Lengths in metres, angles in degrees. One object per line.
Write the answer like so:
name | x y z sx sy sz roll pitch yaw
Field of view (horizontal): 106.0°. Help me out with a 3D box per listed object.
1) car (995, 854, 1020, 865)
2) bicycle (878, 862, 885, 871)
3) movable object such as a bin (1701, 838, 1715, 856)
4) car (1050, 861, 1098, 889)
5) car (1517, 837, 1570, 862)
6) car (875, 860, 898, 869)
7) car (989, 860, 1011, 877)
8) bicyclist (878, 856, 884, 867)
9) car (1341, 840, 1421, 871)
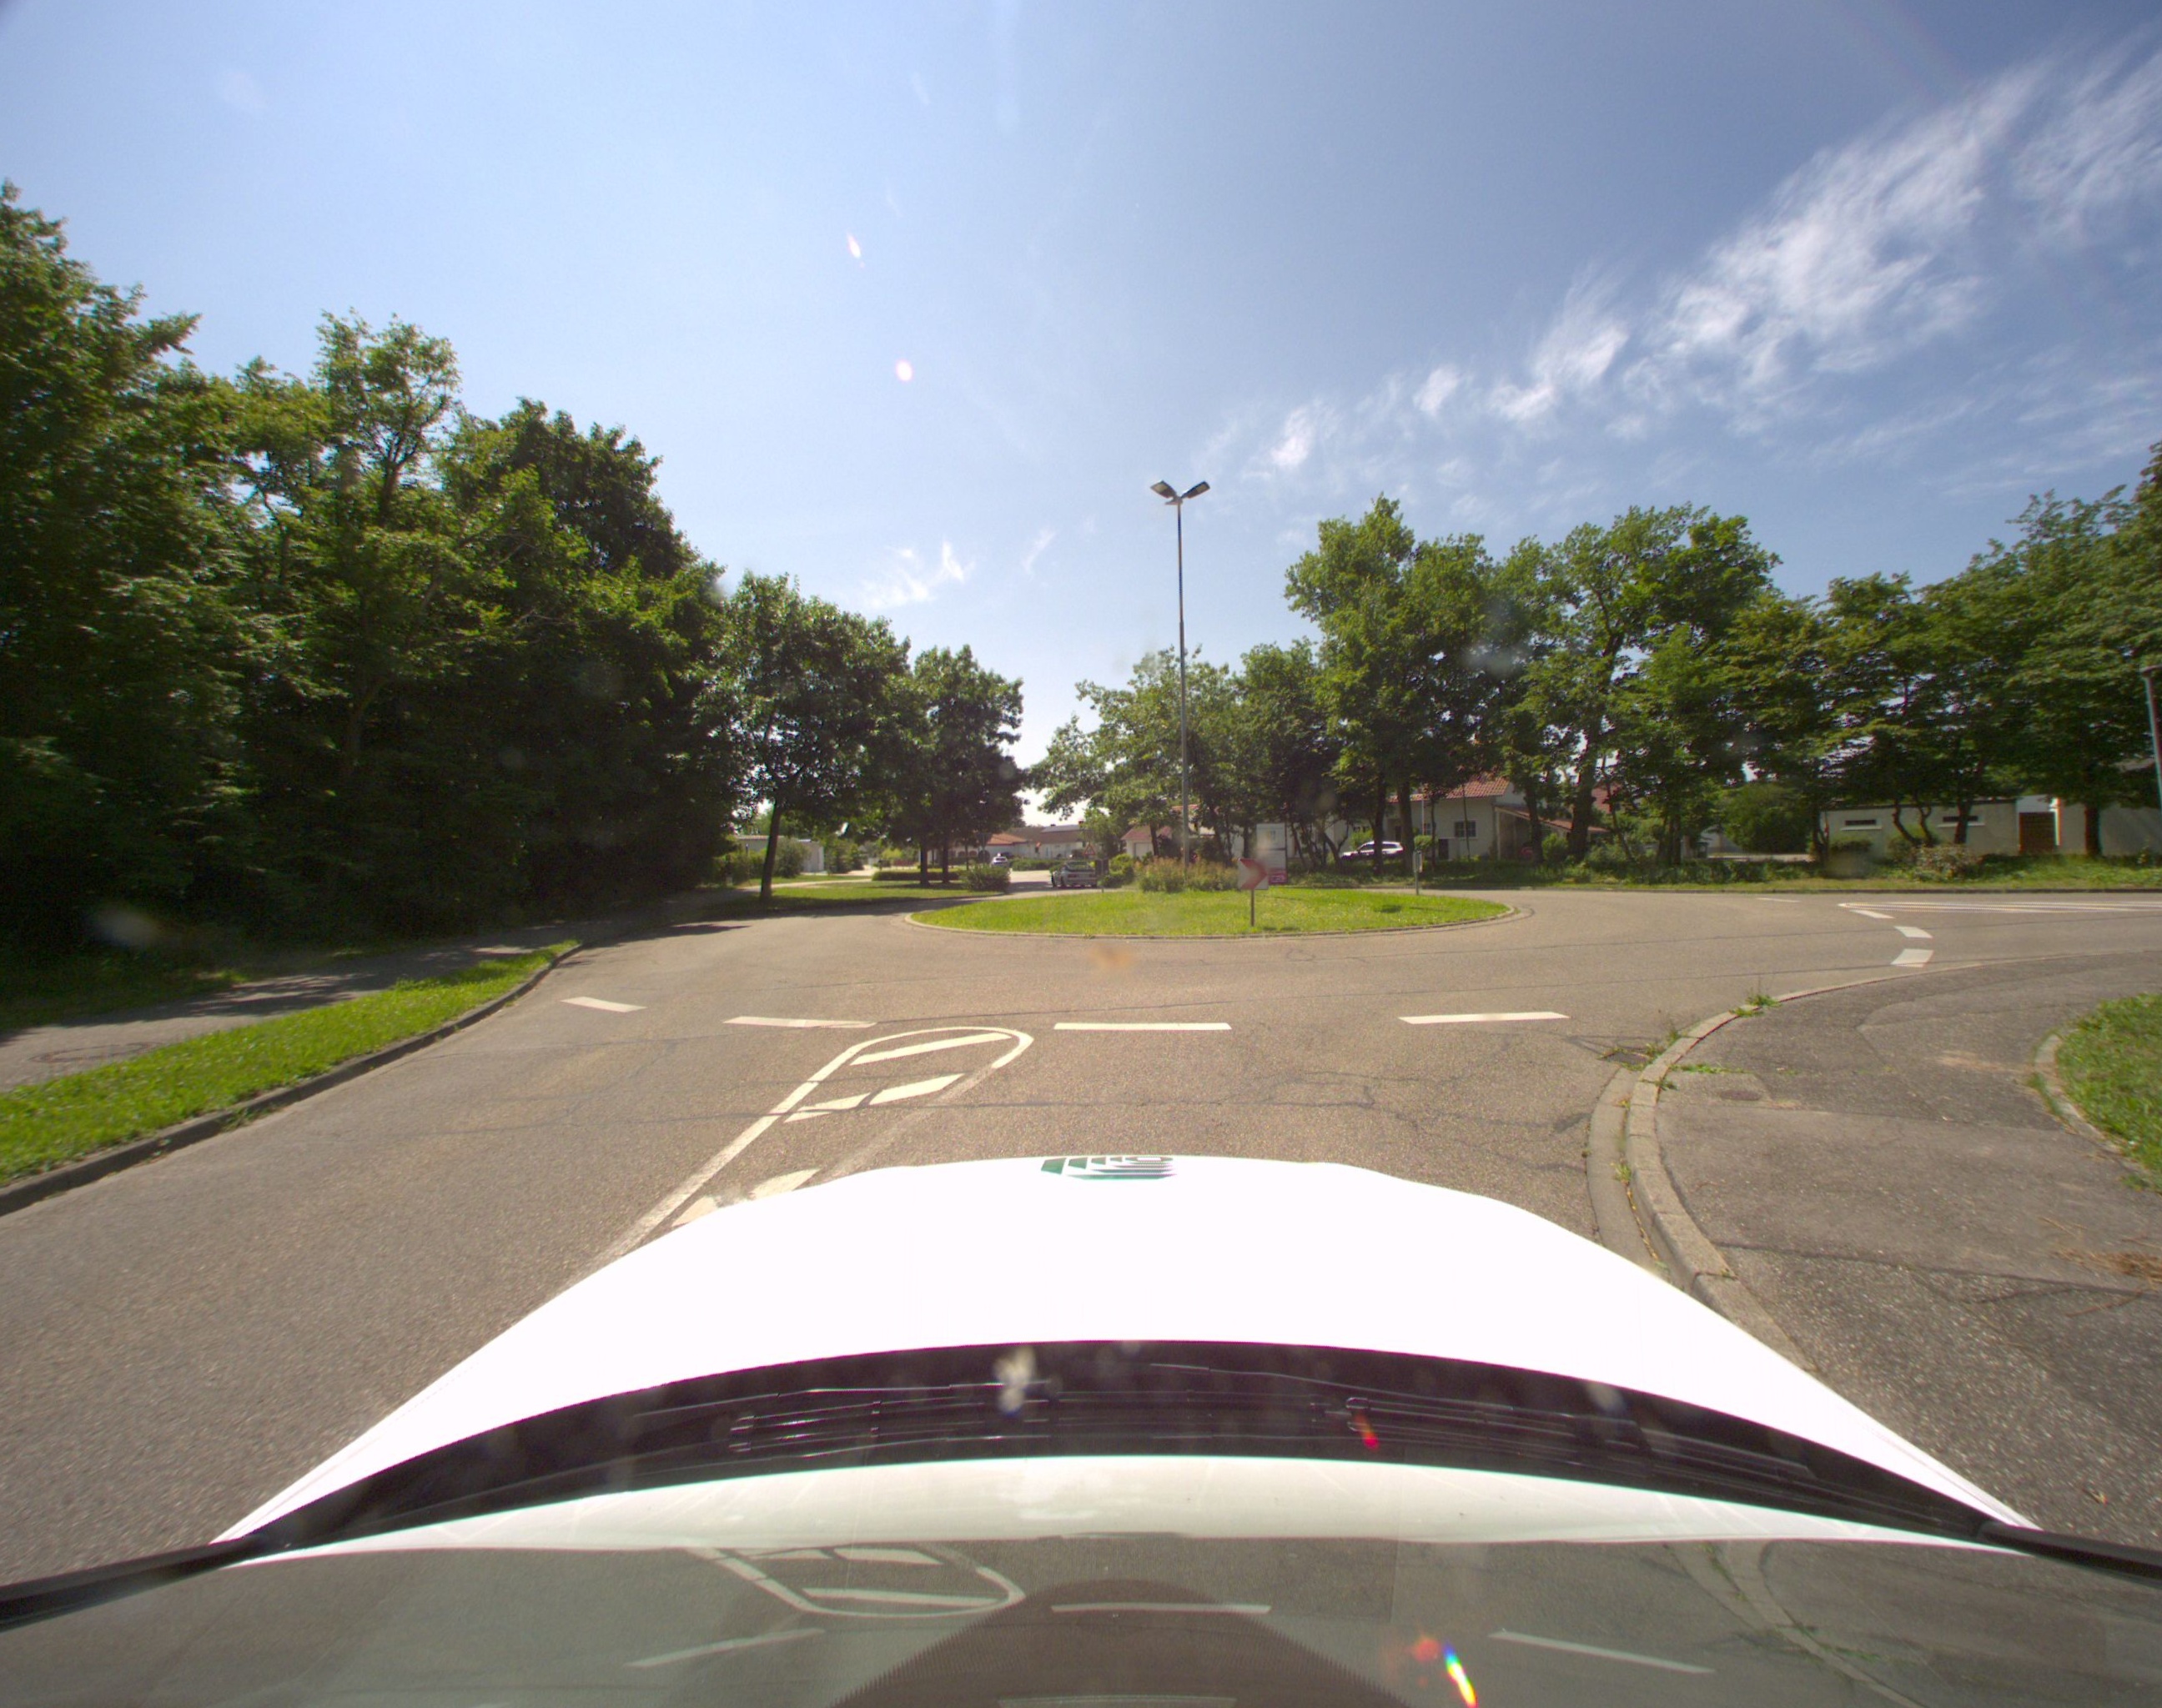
car | -11.555 0.838 128.191 1.830 1.542 3.861 -2 0 35
bicycle | -21.503 1.308 87.769 0.597 0.929 1.613 -2 0 -13
movable object such as a bin | 41.213 -0.455 53.535 0.651 1.112 0.460 -2 0 44
car | -0.375 1.004 40.373 1.616 1.288 3.540 -1 0 -13
car | 27.829 -0.293 48.915 3.714 1.385 1.664 -2 0 -42
car | -31.311 1.719 130.955 2.011 1.288 3.952 -1 0 -42
car | -7.762 1.400 78.007 1.629 1.486 3.984 -2 0 -12
bicyclist | -21.542 0.838 87.887 0.598 1.164 0.645 -2 0 -13
car | 17.706 0.094 48.249 4.091 1.705 1.676 -2 0 44
